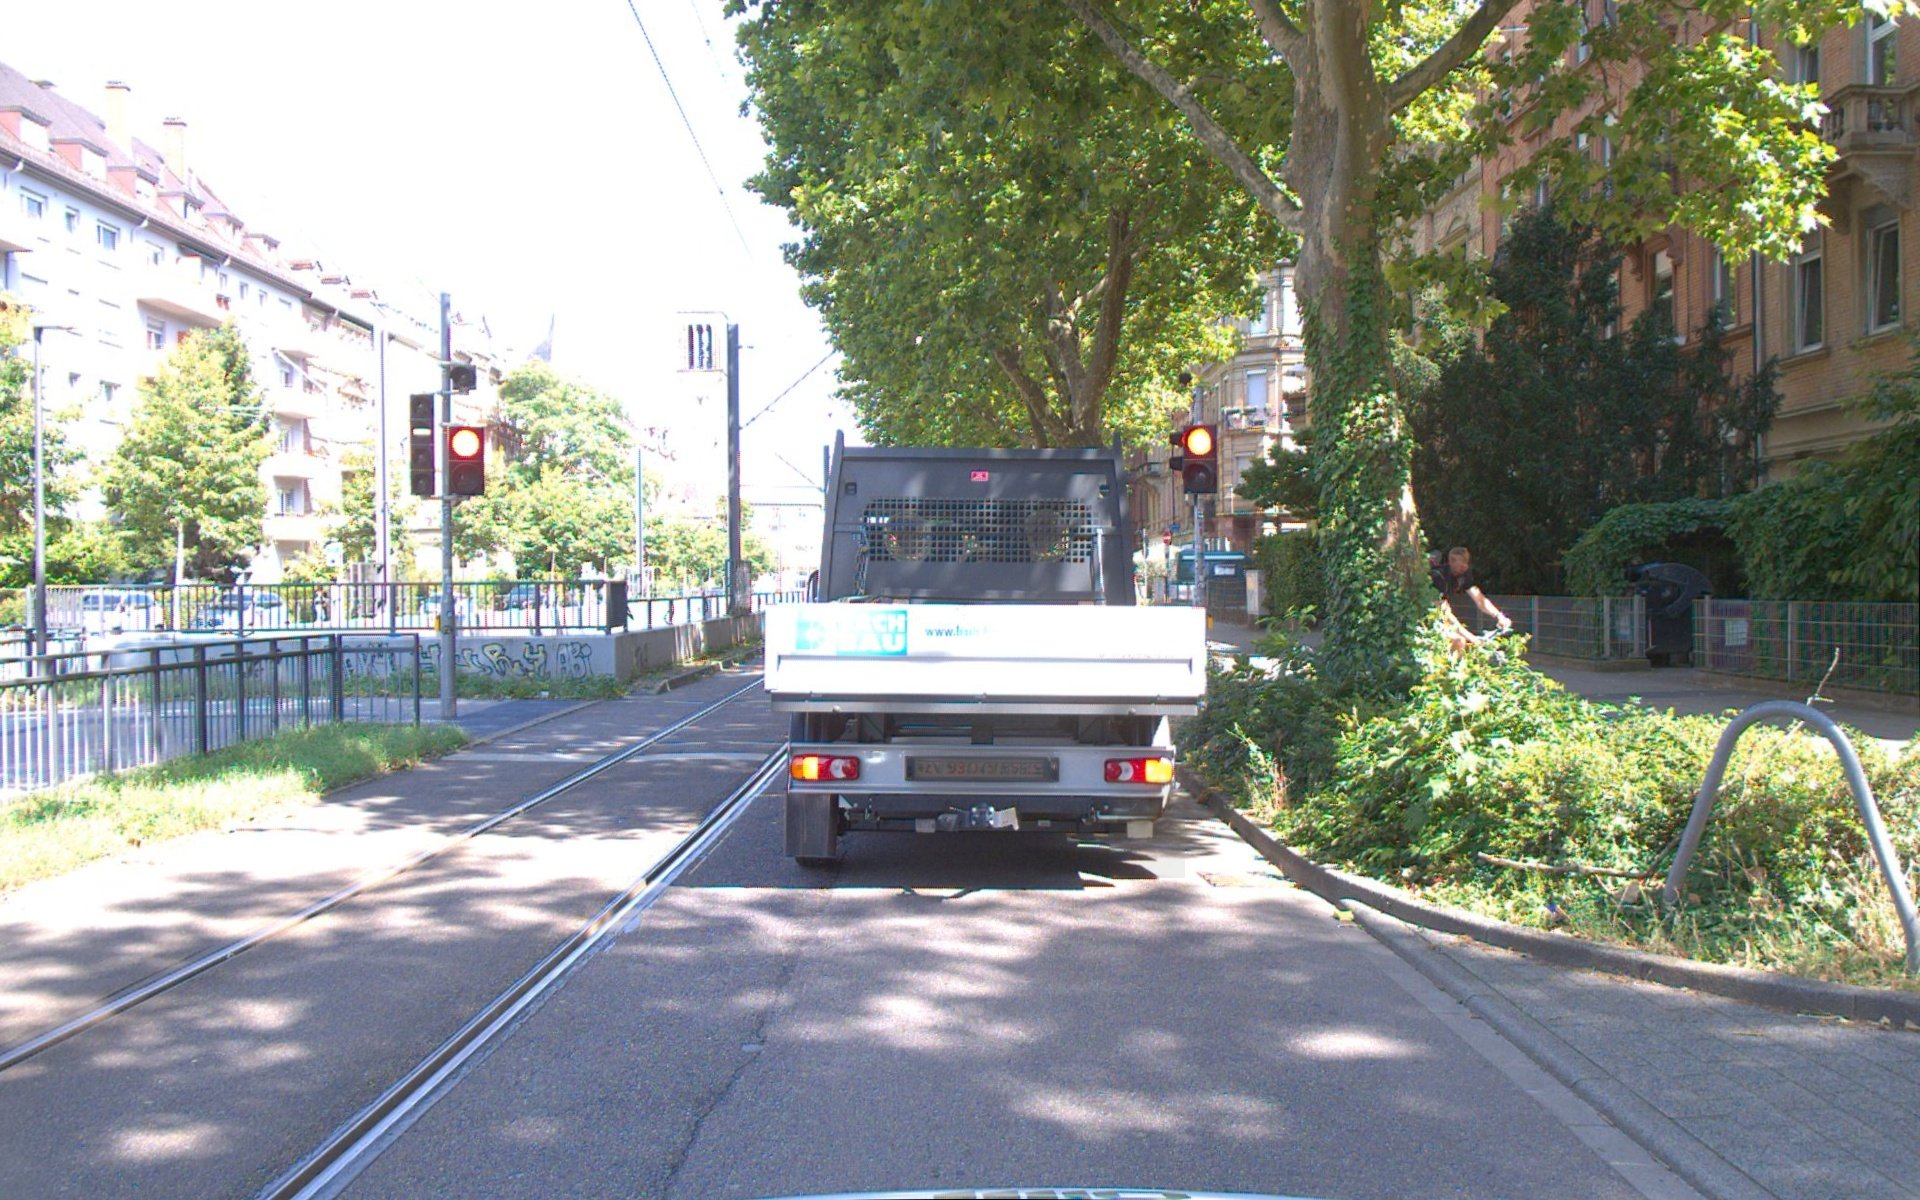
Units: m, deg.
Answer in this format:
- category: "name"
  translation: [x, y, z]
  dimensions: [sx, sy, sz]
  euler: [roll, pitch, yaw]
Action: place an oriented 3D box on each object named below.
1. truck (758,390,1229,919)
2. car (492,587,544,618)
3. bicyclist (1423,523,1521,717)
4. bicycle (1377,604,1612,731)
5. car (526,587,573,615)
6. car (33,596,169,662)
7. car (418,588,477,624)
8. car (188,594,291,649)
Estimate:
- category: "truck"
  translation: [0.155, 0.226, 9.721]
  dimensions: [2.094, 2.359, 4.401]
  euler: [1, 1, 0]
- category: "car"
  translation: [-22.999, 0.122, 86.111]
  dimensions: [1.735, 1.524, 3.998]
  euler: [-1, 1, -2]
- category: "bicyclist"
  translation: [4.489, 0.171, 14.539]
  dimensions: [0.678, 1.651, 0.625]
  euler: [-1, 0, 4]
- category: "bicycle"
  translation: [4.667, 0.584, 14.522]
  dimensions: [1.879, 1.067, 0.533]
  euler: [-1, 0, 4]
- category: "car"
  translation: [-23.289, 0.051, 93.943]
  dimensions: [1.735, 1.524, 3.998]
  euler: [-1, 1, -2]
- category: "car"
  translation: [-22.010, 0.703, 42.543]
  dimensions: [1.737, 1.524, 3.994]
  euler: [-2, 1, -7]
- category: "car"
  translation: [-22.515, 0.241, 72.755]
  dimensions: [1.737, 1.524, 3.994]
  euler: [-1, 1, -7]
- category: "car"
  translation: [-22.200, 0.627, 51.120]
  dimensions: [1.737, 1.524, 3.994]
  euler: [-2, 1, -7]
